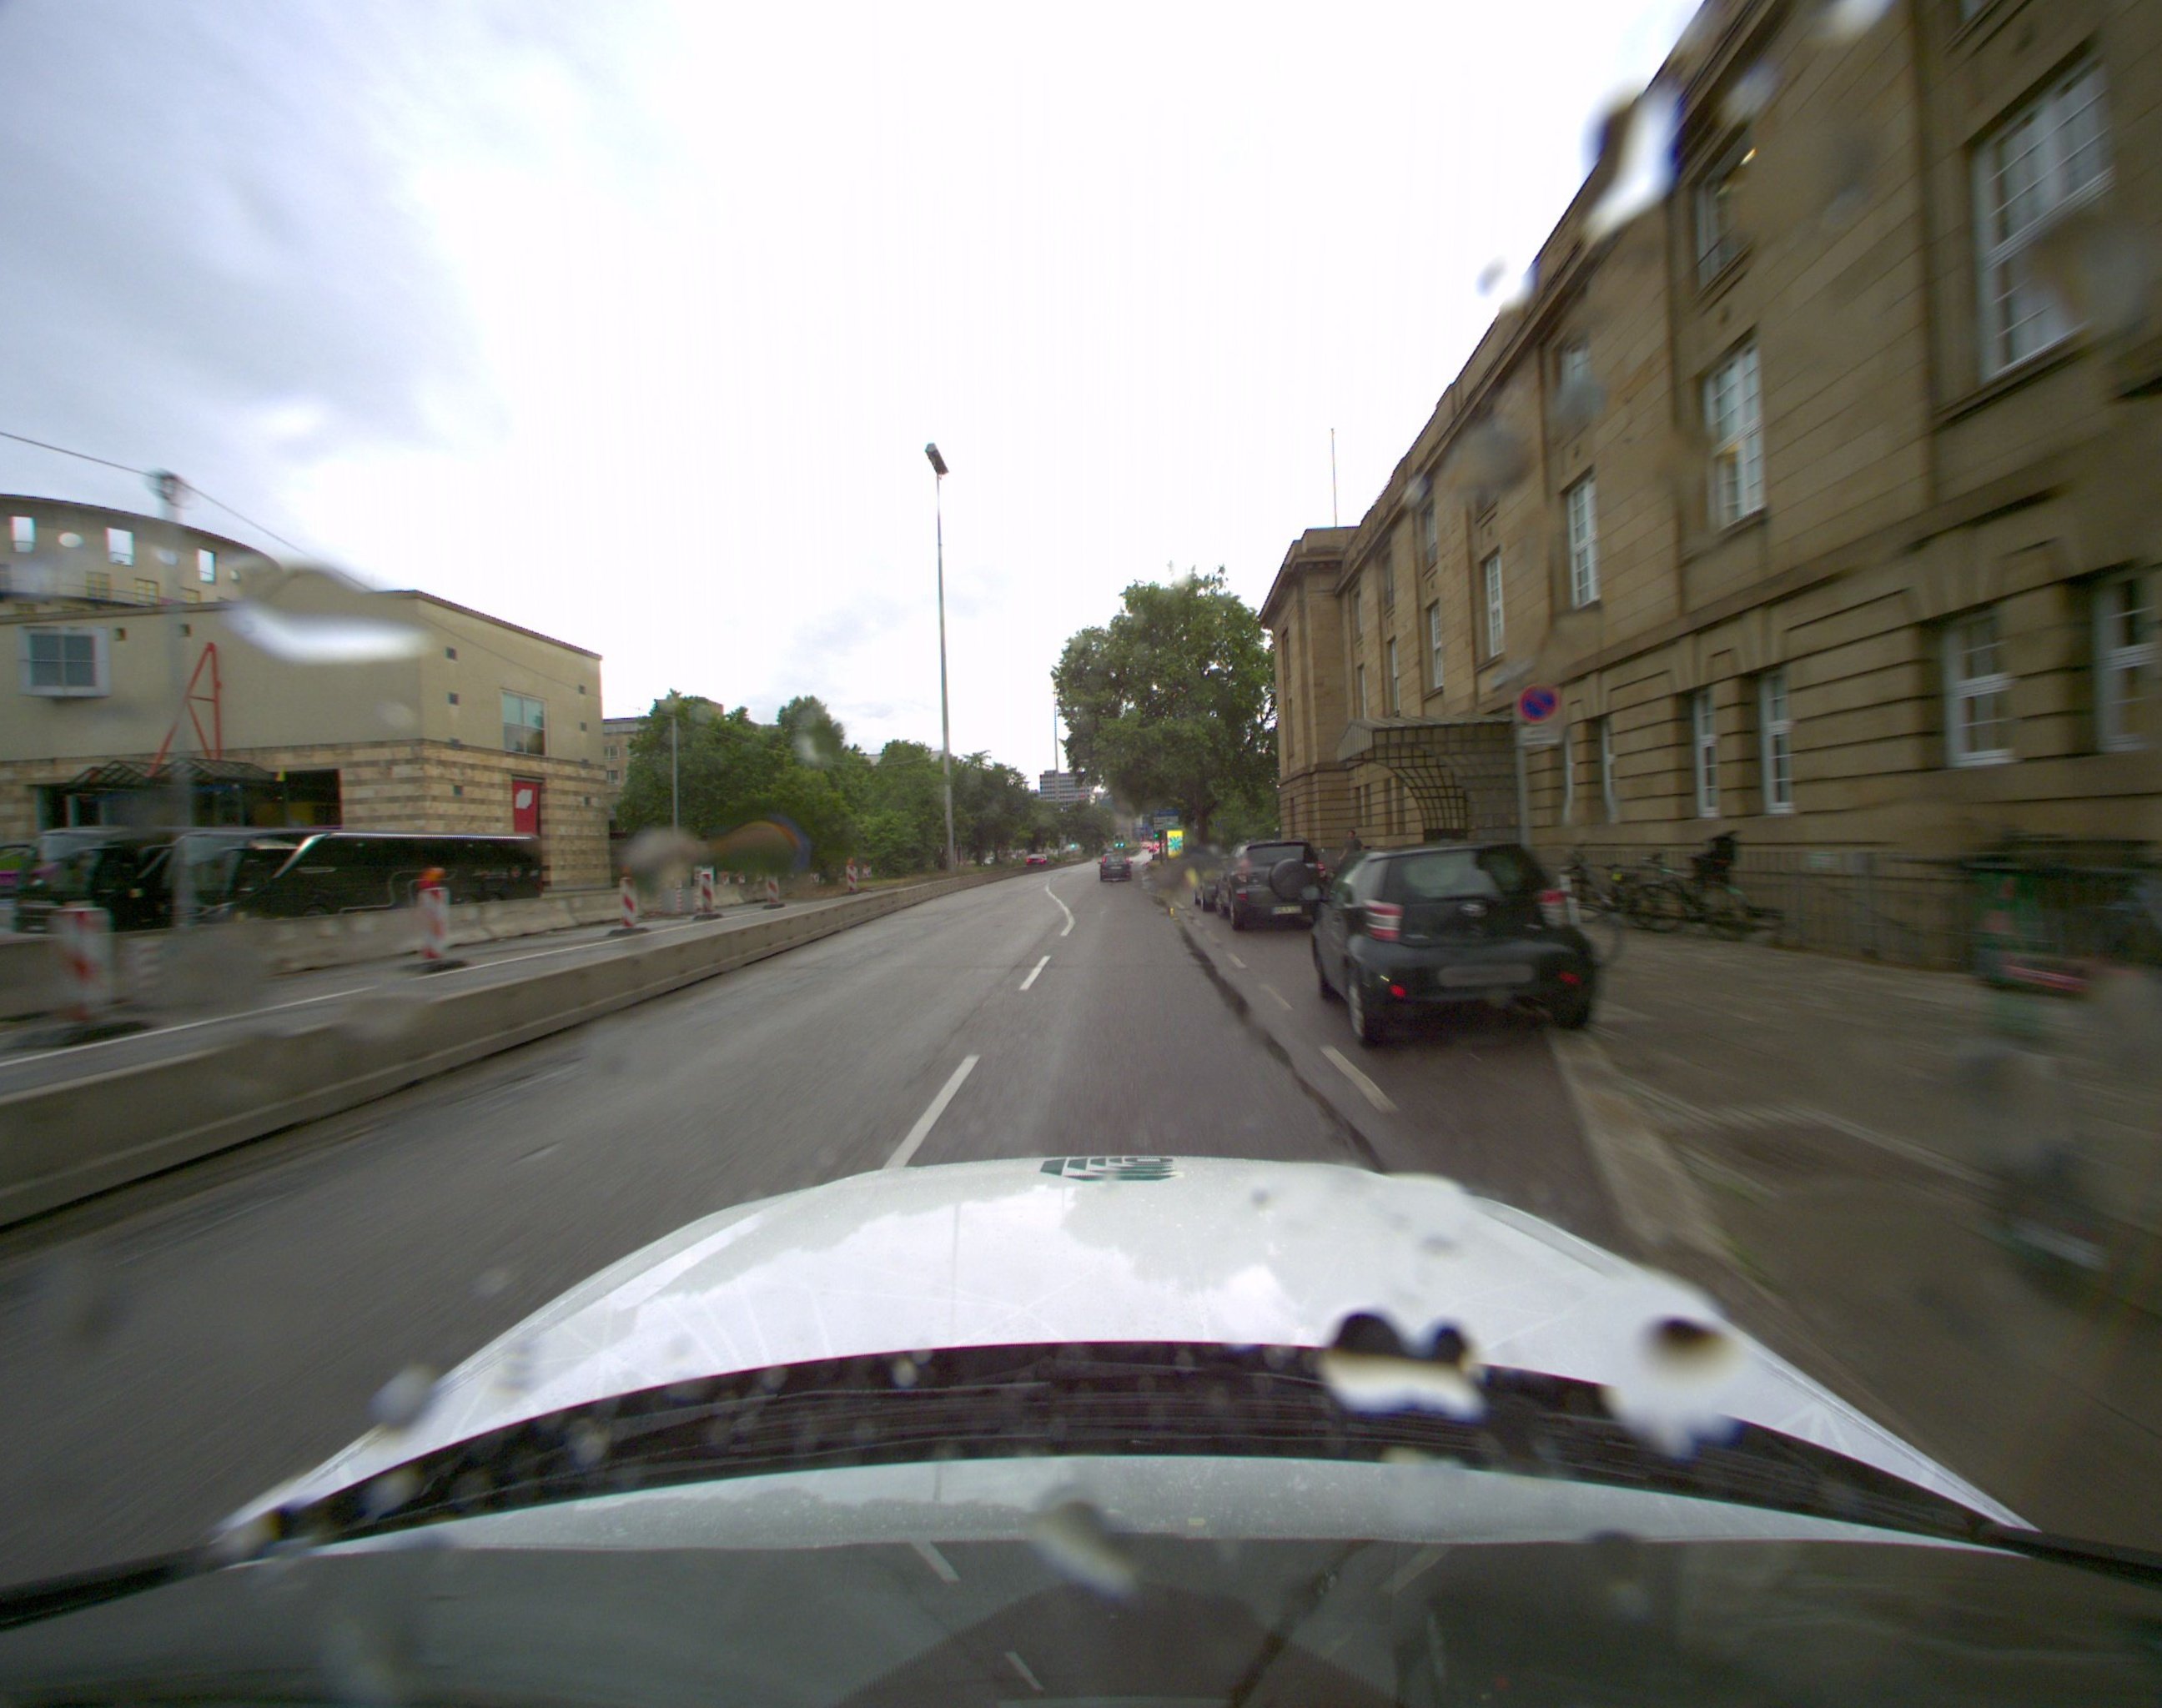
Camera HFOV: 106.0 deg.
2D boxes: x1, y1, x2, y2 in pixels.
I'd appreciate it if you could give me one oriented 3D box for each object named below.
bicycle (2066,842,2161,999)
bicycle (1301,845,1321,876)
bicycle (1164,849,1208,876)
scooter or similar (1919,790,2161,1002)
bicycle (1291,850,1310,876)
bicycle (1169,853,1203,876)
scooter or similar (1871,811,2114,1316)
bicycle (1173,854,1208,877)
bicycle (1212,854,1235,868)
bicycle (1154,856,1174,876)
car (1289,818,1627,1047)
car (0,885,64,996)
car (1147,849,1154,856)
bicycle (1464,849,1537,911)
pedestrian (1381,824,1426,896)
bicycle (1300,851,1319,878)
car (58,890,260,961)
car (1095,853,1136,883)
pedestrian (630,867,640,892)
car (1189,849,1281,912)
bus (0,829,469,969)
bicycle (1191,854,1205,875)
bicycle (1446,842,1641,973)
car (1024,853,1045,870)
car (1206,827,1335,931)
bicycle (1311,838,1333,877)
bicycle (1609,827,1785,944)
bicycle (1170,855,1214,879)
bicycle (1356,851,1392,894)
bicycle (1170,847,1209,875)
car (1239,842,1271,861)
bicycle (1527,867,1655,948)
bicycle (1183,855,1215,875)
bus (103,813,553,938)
[{"bbox_3d":[7.425,0.447,5.246,0.415,1.050,1.779,-2,-1,16],"label":"bicycle"},{"bbox_3d":[9.765,0.266,34.650,0.452,1.251,1.600,-1,0,2],"label":"bicycle"},{"bbox_3d":[5.334,0.434,41.505,2.180,1.336,0.651,-2,0,5],"label":"bicycle"},{"bbox_3d":[7.119,0.286,6.112,0.411,1.417,1.270,-2,-1,7],"label":"scooter or similar"},{"bbox_3d":[9.578,0.403,35.540,0.350,1.080,1.790,-4,-1,3],"label":"bicycle"},{"bbox_3d":[5.376,0.542,41.661,1.671,1.122,0.602,-2,0,5],"label":"bicycle"},{"bbox_3d":[3.133,0.559,2.820,1.339,1.368,0.430,-1,-1,-42],"label":"scooter or similar"},{"bbox_3d":[5.417,0.549,40.354,1.671,1.090,0.651,-2,0,5],"label":"bicycle"},{"bbox_3d":[10.292,0.484,58.795,1.631,1.020,0.576,0,-1,8],"label":"bicycle"},{"bbox_3d":[4.368,0.617,42.587,0.663,0.967,1.645,-2,0,19],"label":"bicycle"},{"bbox_3d":[2.944,0.553,7.119,1.749,1.414,3.159,-6,-1,8],"label":"car"},{"bbox_3d":[-13.084,1.029,7.575,1.774,1.262,4.752,-1,0,-10],"label":"car"},{"bbox_3d":[19.839,-0.416,232.995,1.730,1.771,4.006,-4,-1,6],"label":"car"},{"bbox_3d":[7.596,0.450,14.835,0.580,1.038,1.762,-2,-1,7],"label":"bicycle"},{"bbox_3d":[8.412,0.152,21.241,0.792,1.777,0.642,-5,-1,3],"label":"pedestrian"},{"bbox_3d":[9.520,0.423,33.921,0.350,1.080,1.790,-1,0,3],"label":"bicycle"},{"bbox_3d":[-24.413,1.843,21.733,1.586,1.500,3.215,-5,0,1],"label":"car"},{"bbox_3d":[1.779,0.725,42.737,1.839,1.416,3.837,-4,-1,-1],"label":"car"},{"bbox_3d":[-36.557,2.063,66.758,0.475,2.014,0.512,-4,-1,4],"label":"pedestrian"},{"bbox_3d":[3.958,0.650,21.473,1.923,1.478,3.706,-2,-1,4],"label":"car"},{"bbox_3d":[-31.139,1.345,31.716,3.102,4.252,13.521,-1,0,7],"label":"bus"},{"bbox_3d":[6.788,0.603,47.065,0.601,1.197,1.910,-4,-1,11],"label":"bicycle"},{"bbox_3d":[4.957,0.528,8.920,0.775,1.218,1.960,-4,0,-7],"label":"bicycle"},{"bbox_3d":[-4.337,0.666,76.374,1.749,1.451,3.999,-3,0,-1],"label":"car"},{"bbox_3d":[3.665,0.458,16.502,1.984,1.781,4.195,-2,-1,6],"label":"car"},{"bbox_3d":[9.623,0.132,32.586,0.452,1.515,1.600,-1,0,2],"label":"bicycle"},{"bbox_3d":[7.410,0.356,9.920,0.728,1.268,1.758,-3,-1,-2],"label":"bicycle"},{"bbox_3d":[5.302,0.627,38.835,1.978,1.060,0.759,-2,0,0],"label":"bicycle"},{"bbox_3d":[8.659,0.524,24.133,0.462,1.215,1.692,-2,-1,2],"label":"bicycle"},{"bbox_3d":[5.436,0.346,40.934,1.897,1.332,0.651,-2,0,5],"label":"bicycle"},{"bbox_3d":[15.659,-0.261,73.605,1.985,1.609,5.241,-2,1,3],"label":"car"},{"bbox_3d":[7.331,0.733,11.816,0.710,1.051,1.739,-2,-1,-1],"label":"bicycle"},{"bbox_3d":[6.127,0.573,42.358,1.582,0.994,0.525,-2,0,5],"label":"bicycle"},{"bbox_3d":[-27.765,0.625,32.158,2.789,3.811,14.627,-1,0,7],"label":"bus"}]
